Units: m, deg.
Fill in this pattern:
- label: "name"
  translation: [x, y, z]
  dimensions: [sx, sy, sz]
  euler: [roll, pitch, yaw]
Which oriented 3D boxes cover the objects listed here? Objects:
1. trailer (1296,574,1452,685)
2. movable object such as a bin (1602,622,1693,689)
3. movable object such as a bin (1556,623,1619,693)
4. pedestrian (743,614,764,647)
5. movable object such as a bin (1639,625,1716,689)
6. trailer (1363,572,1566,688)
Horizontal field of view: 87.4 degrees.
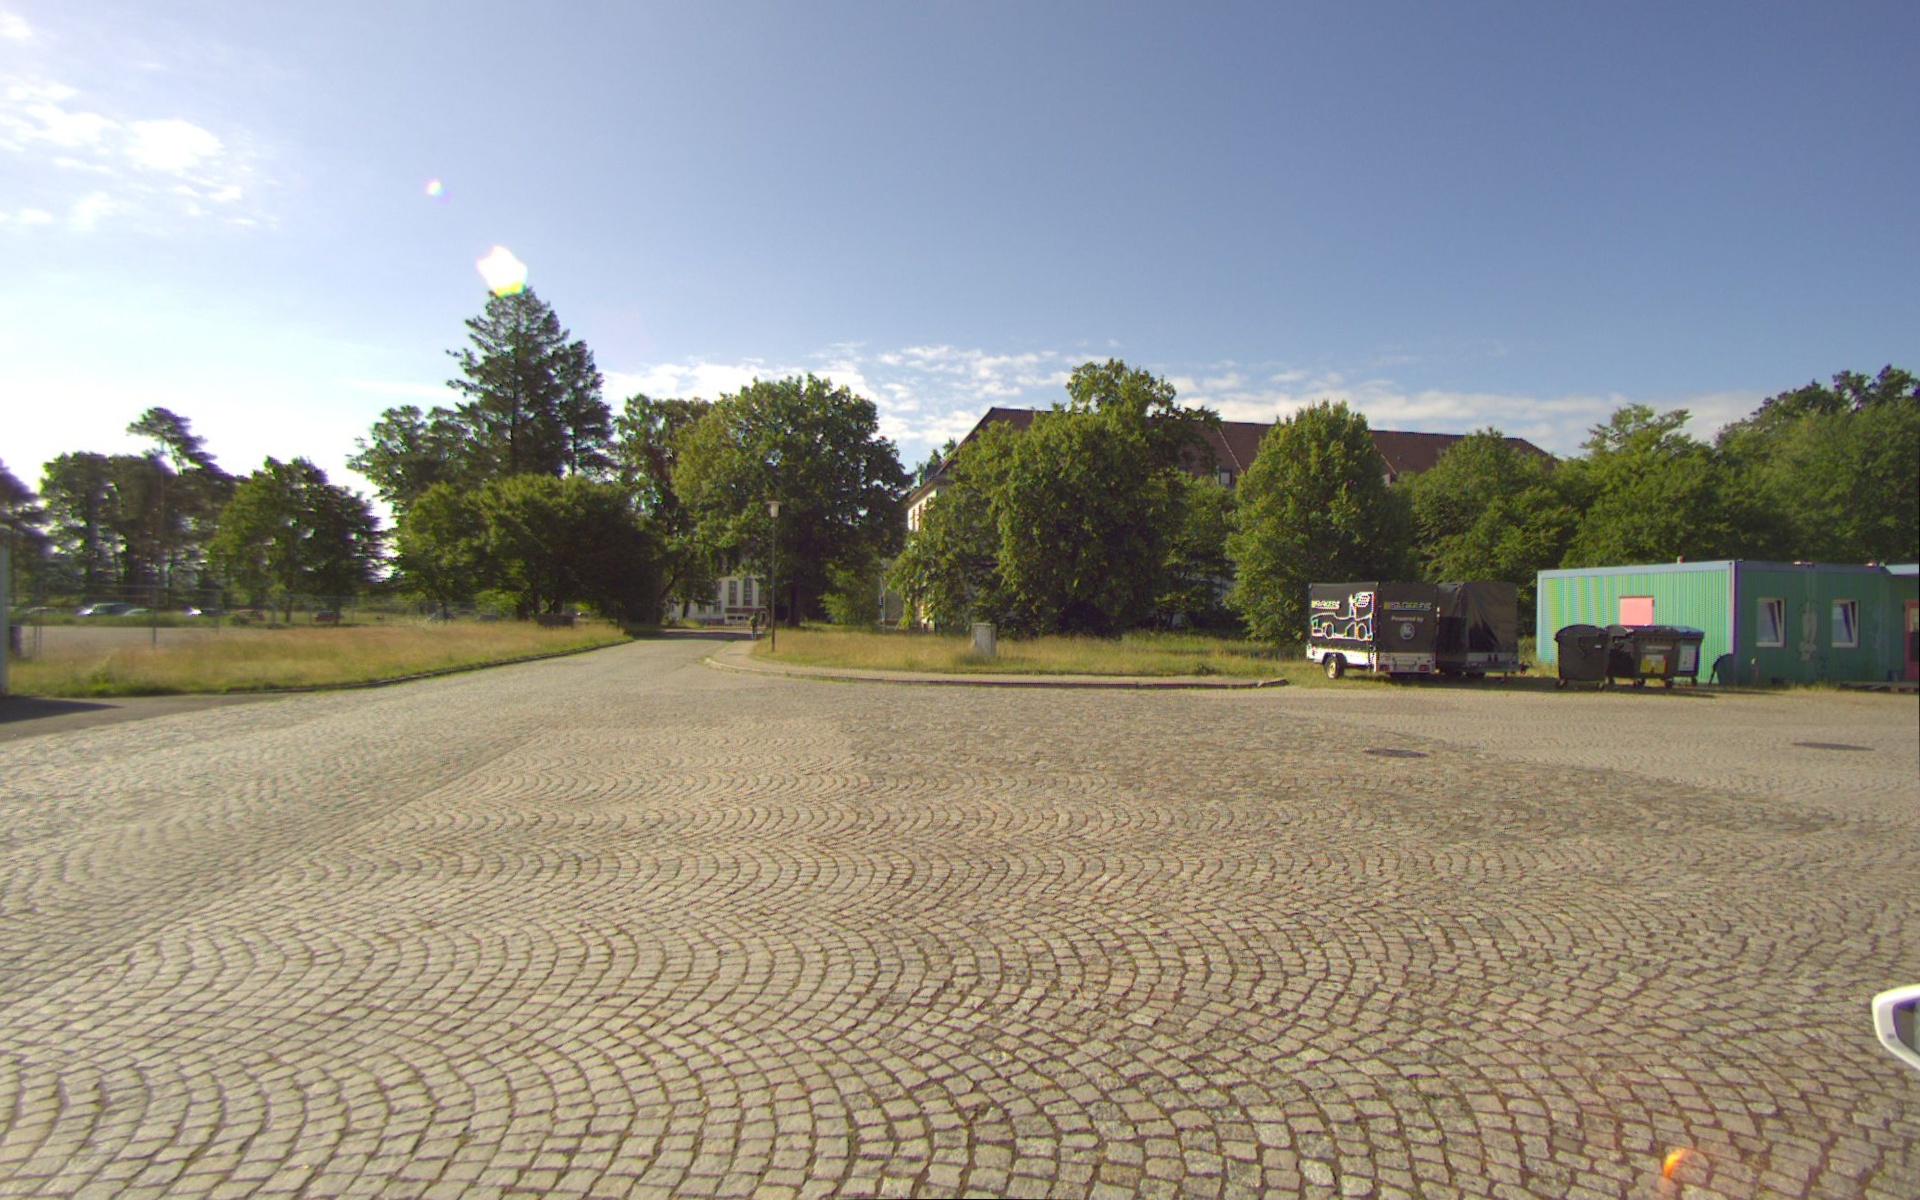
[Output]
- label: "trailer"
  translation: [10.046, 0.691, 24.672]
  dimensions: [2.007, 2.502, 3.390]
  euler: [2, 0, -10]
- label: "movable object such as a bin"
  translation: [15.977, 1.275, 23.372]
  dimensions: [1.415, 1.477, 1.019]
  euler: [2, 0, -11]
- label: "movable object such as a bin"
  translation: [14.032, 1.268, 22.476]
  dimensions: [1.136, 1.477, 1.435]
  euler: [2, 0, 32]
- label: "pedestrian"
  translation: [-12.756, 1.876, 62.142]
  dimensions: [1.139, 1.954, 1.125]
  euler: [2, 0, -9]
- label: "movable object such as a bin"
  translation: [17.457, 1.381, 24.436]
  dimensions: [1.419, 1.477, 0.880]
  euler: [2, 0, -22]
- label: "trailer"
  translation: [12.411, 0.688, 25.120]
  dimensions: [1.919, 2.602, 4.638]
  euler: [2, 0, -14]
